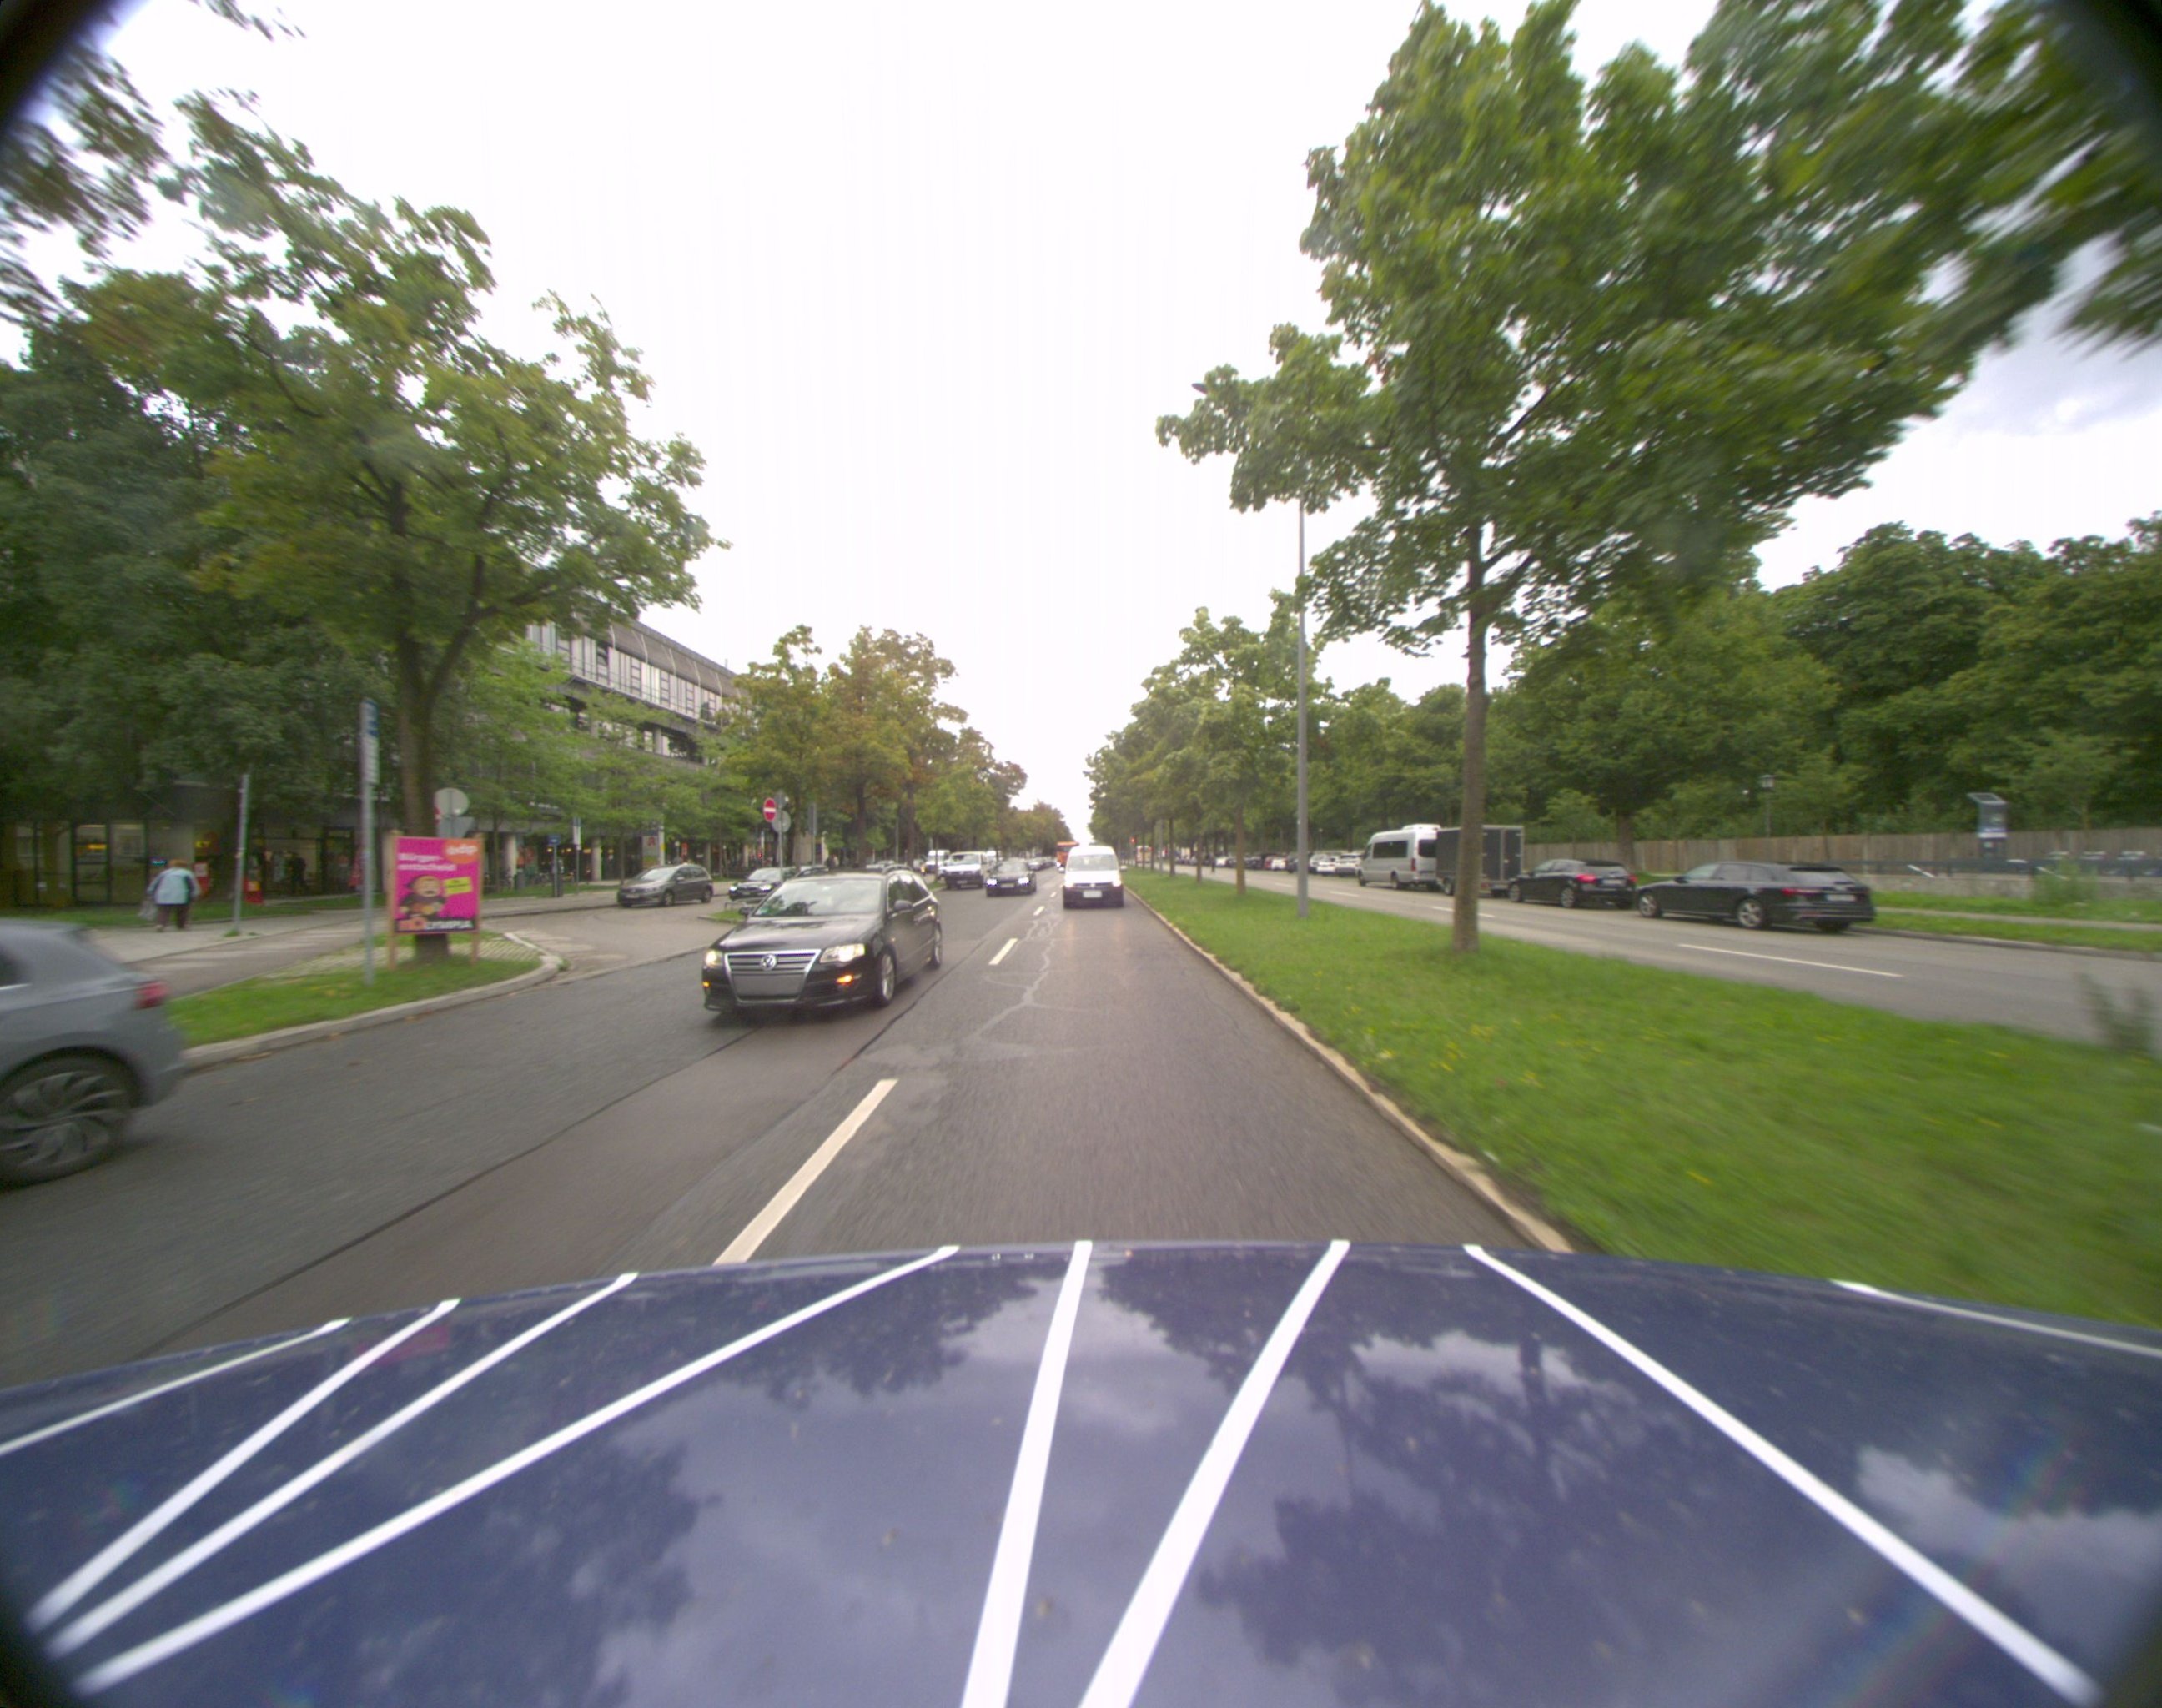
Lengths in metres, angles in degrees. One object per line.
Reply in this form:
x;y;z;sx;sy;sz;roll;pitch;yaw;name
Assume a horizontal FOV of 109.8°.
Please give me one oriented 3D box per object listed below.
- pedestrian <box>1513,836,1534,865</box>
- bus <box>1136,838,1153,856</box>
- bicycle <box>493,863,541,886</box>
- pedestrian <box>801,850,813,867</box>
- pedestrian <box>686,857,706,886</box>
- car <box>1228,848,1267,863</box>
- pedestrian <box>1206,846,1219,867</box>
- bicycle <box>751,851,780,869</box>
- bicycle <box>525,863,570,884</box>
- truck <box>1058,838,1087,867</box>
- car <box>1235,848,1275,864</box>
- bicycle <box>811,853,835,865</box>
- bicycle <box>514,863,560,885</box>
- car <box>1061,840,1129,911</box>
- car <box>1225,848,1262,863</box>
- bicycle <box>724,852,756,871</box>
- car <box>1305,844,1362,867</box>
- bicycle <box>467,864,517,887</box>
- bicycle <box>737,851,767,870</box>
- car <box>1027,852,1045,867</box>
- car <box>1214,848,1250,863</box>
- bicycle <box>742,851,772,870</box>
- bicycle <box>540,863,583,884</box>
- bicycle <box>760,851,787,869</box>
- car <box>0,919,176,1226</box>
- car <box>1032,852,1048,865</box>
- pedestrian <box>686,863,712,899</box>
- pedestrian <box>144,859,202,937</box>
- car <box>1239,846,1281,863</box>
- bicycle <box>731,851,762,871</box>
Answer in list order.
27.472;-0.224;47.198;0.770;1.757;0.873;0;1;-3;pedestrian
12.512;-1.448;151.545;2.676;3.279;11.925;1;1;1;bus
-28.985;1.039;39.045;2.080;1.114;0.455;-1;1;1;bicycle
-27.394;0.445;75.989;0.769;1.689;0.875;0;2;15;pedestrian
-20.402;0.920;40.278;0.660;1.533;0.632;1;1;5;pedestrian
18.773;0.177;85.436;4.006;1.548;1.887;-3;0;-31;car
10.704;0.163;61.758;0.872;1.689;0.771;1;2;21;pedestrian
-28.198;0.535;67.932;2.313;1.613;0.649;-1;1;1;bicycle
-28.872;1.060;41.152;2.080;1.114;0.455;-1;1;1;bicycle
-0.936;-0.223;90.738;3.046;3.170;9.133;-2;1;2;truck
18.913;0.238;82.506;4.006;1.548;1.887;-3;0;-31;car
-28.012;0.560;82.522;2.313;1.294;0.676;-1;1;2;bicycle
-28.659;1.054;40.008;2.080;1.114;0.455;-1;1;1;bicycle
0.360;0.567;22.498;1.750;1.807;4.667;-2;0;0;car
19.049;0.183;88.907;4.006;1.548;1.887;-3;0;-31;car
-28.567;0.616;63.673;2.313;1.523;0.649;-1;1;1;bicycle
19.311;0.121;57.961;4.331;1.564;1.797;-2;1;-33;car
-28.995;1.047;37.411;2.080;1.114;0.455;-1;1;1;bicycle
-28.489;0.577;65.779;2.313;1.613;0.649;-1;1;1;bicycle
-5.020;0.591;85.735;1.735;1.498;4.441;-2;0;0;car
18.772;0.172;94.450;4.006;1.548;1.887;-3;0;-31;car
-28.396;0.552;66.683;2.313;1.613;0.649;-1;1;1;bicycle
-28.916;1.082;42.311;2.080;1.114;0.455;-1;1;1;bicycle
-28.600;0.574;70.691;2.316;1.613;0.648;-1;1;-16;bicycle
-6.267;1.159;2.428;1.686;1.457;4.115;-2;0;2;car
-4.940;0.533;91.787;1.735;1.424;4.441;-2;0;0;car
-16.987;1.180;33.794;0.657;1.585;0.755;0;1;19;pedestrian
-19.000;0.898;15.910;0.581;1.565;0.779;-3;2;-39;pedestrian
18.622;0.048;78.996;4.006;1.548;1.887;-3;0;-31;car
-28.526;0.599;64.877;2.313;1.613;0.649;-1;1;1;bicycle
